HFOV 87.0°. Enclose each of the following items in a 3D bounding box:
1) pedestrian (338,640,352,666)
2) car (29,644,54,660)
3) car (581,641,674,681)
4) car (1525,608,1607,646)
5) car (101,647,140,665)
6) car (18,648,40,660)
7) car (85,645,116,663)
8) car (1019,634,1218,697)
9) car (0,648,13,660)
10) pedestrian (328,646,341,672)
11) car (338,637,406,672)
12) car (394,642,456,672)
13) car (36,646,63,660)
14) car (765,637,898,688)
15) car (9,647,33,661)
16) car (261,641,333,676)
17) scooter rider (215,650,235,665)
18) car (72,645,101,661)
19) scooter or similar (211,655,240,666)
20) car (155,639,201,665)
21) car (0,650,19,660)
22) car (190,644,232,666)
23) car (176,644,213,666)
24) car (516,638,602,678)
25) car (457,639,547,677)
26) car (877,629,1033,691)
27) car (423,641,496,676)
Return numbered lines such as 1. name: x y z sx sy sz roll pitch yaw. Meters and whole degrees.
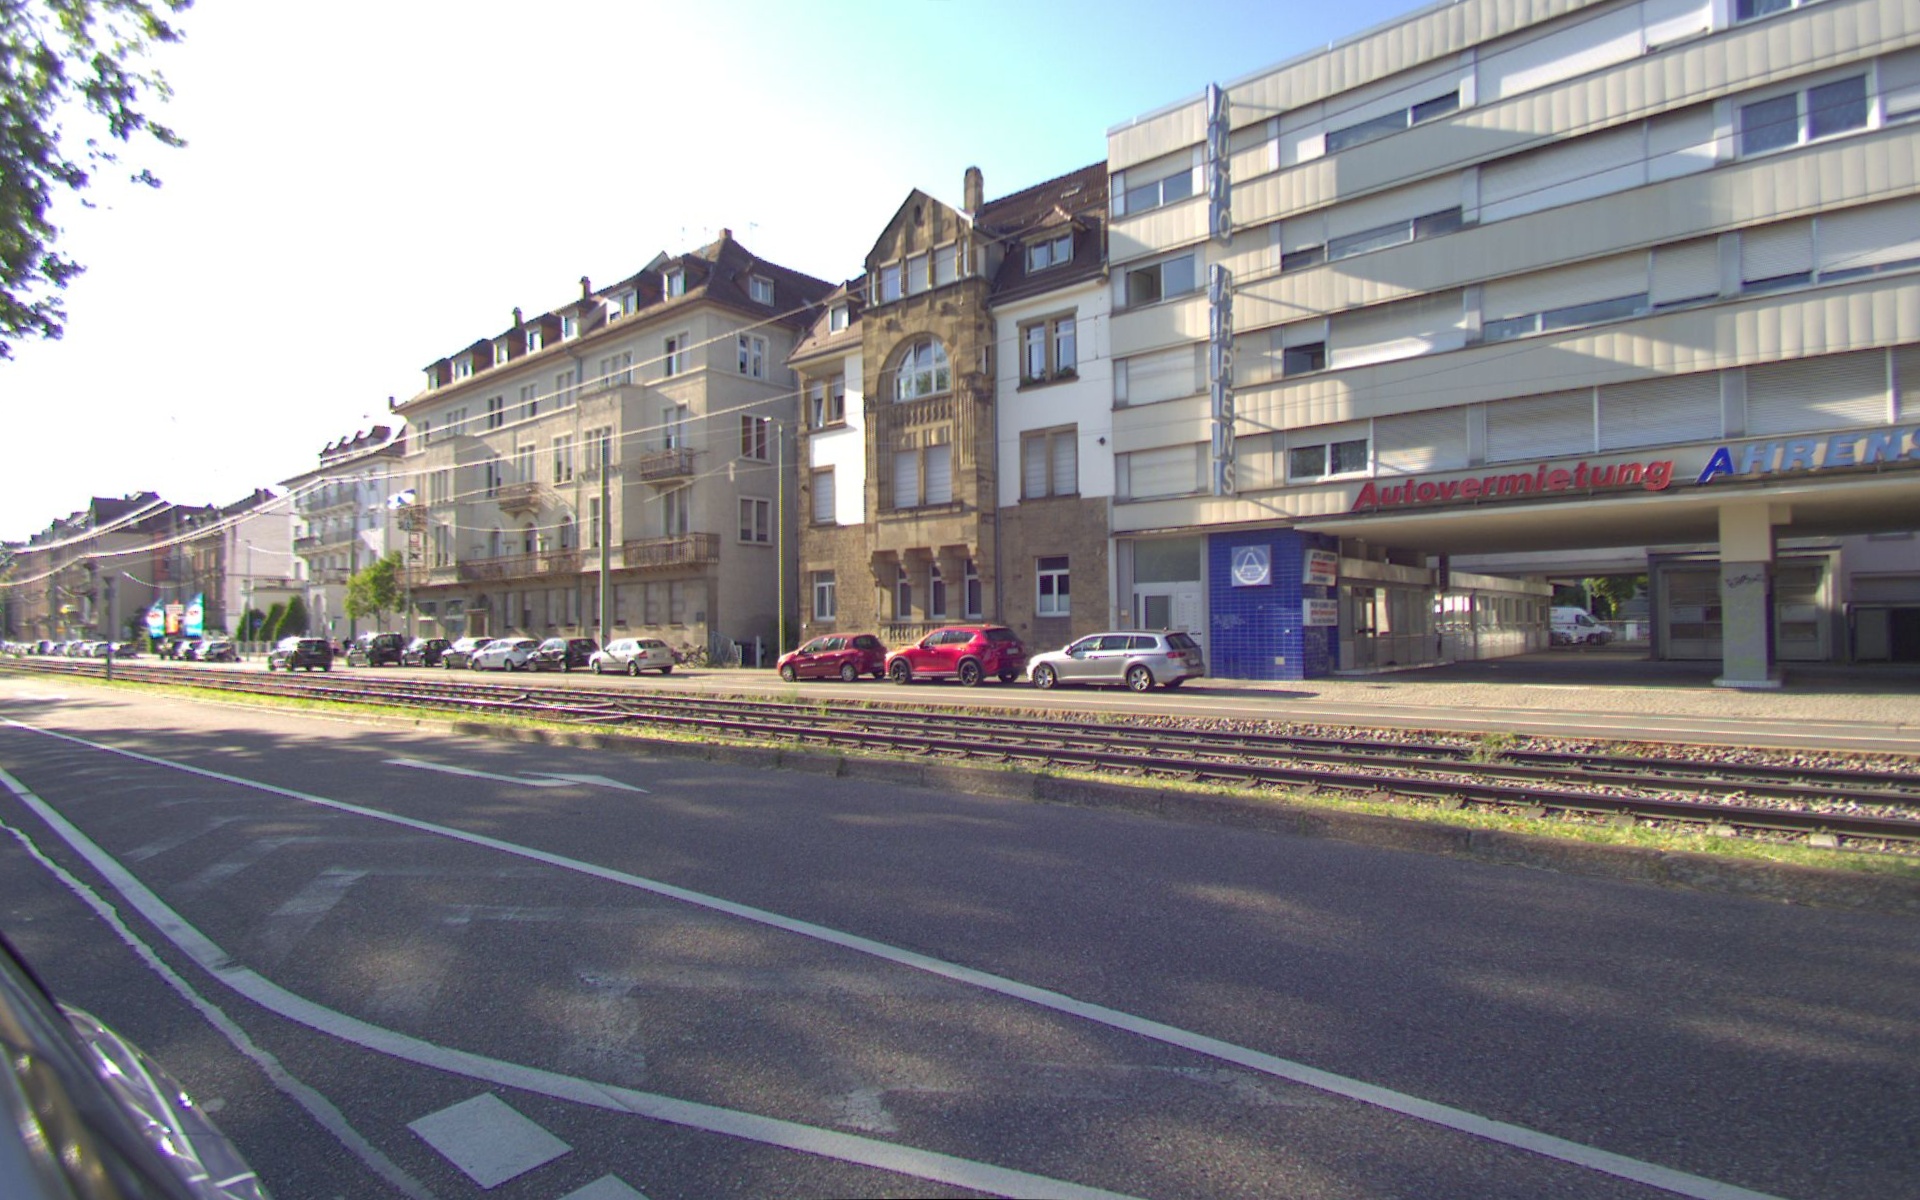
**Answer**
1. pedestrian: -41.233 3.568 67.860 0.581 1.709 0.860 -1 0 -21
2. car: -115.476 6.524 127.257 4.723 1.821 1.643 -2 -1 39
3. car: -13.164 2.390 39.955 4.156 1.480 1.618 -3 -3 41
4. car: 39.365 1.752 65.793 4.337 2.309 1.840 -1 0 39
5. car: -80.851 5.387 97.430 4.836 1.471 1.903 -3 2 39
6. car: -119.964 6.962 130.368 3.978 1.457 1.643 -2 -1 41
7. car: -87.923 5.520 103.504 4.841 1.707 1.900 -3 -1 43
8. car: 3.911 1.593 25.461 4.678 1.402 1.815 -2 -2 40
9. car: -139.089 7.851 147.036 4.630 1.655 1.775 -3 -1 43
10. pedestrian: -41.795 3.948 67.640 0.581 1.709 0.860 -1 0 -21
11. car: -32.956 3.082 56.681 4.397 1.800 1.844 -3 -1 40
12. car: -28.189 2.992 53.265 3.505 1.401 1.612 -3 1 39
13. car: -110.594 6.394 122.944 4.624 1.550 1.901 -2 -2 41
14. car: -4.116 1.955 32.261 4.027 1.401 1.817 -2 1 36
15. car: -126.761 7.248 136.649 3.995 1.821 1.777 -2 -1 39
16. car: -31.888 2.818 48.643 4.153 1.614 1.619 -2 -4 39
17. scooter rider: -52.454 4.102 72.220 0.962 1.097 0.810 0 -3 -19
18. car: -92.516 5.588 107.201 4.843 1.572 1.899 -3 -2 44
19. scooter or similar: -52.414 4.301 72.226 1.542 0.776 0.810 0 -3 -18
20. car: -65.779 4.383 85.098 5.590 2.025 2.055 -2 -1 42
21. car: -135.478 7.824 144.160 3.762 1.457 1.643 -2 -1 40
22. car: -57.271 4.186 77.399 3.999 1.522 1.775 -2 0 42
23. car: -61.199 4.372 80.883 4.158 1.518 1.618 -1 0 42
24. car: -17.200 2.463 43.350 4.156 1.479 1.619 -2 3 41
25. car: -20.759 2.623 45.860 3.967 1.479 1.624 -3 3 30
26. car: -0.203 1.664 28.856 4.351 1.570 1.814 -2 -1 41
27. car: -24.442 2.832 49.344 4.155 1.480 1.619 -2 1 40
